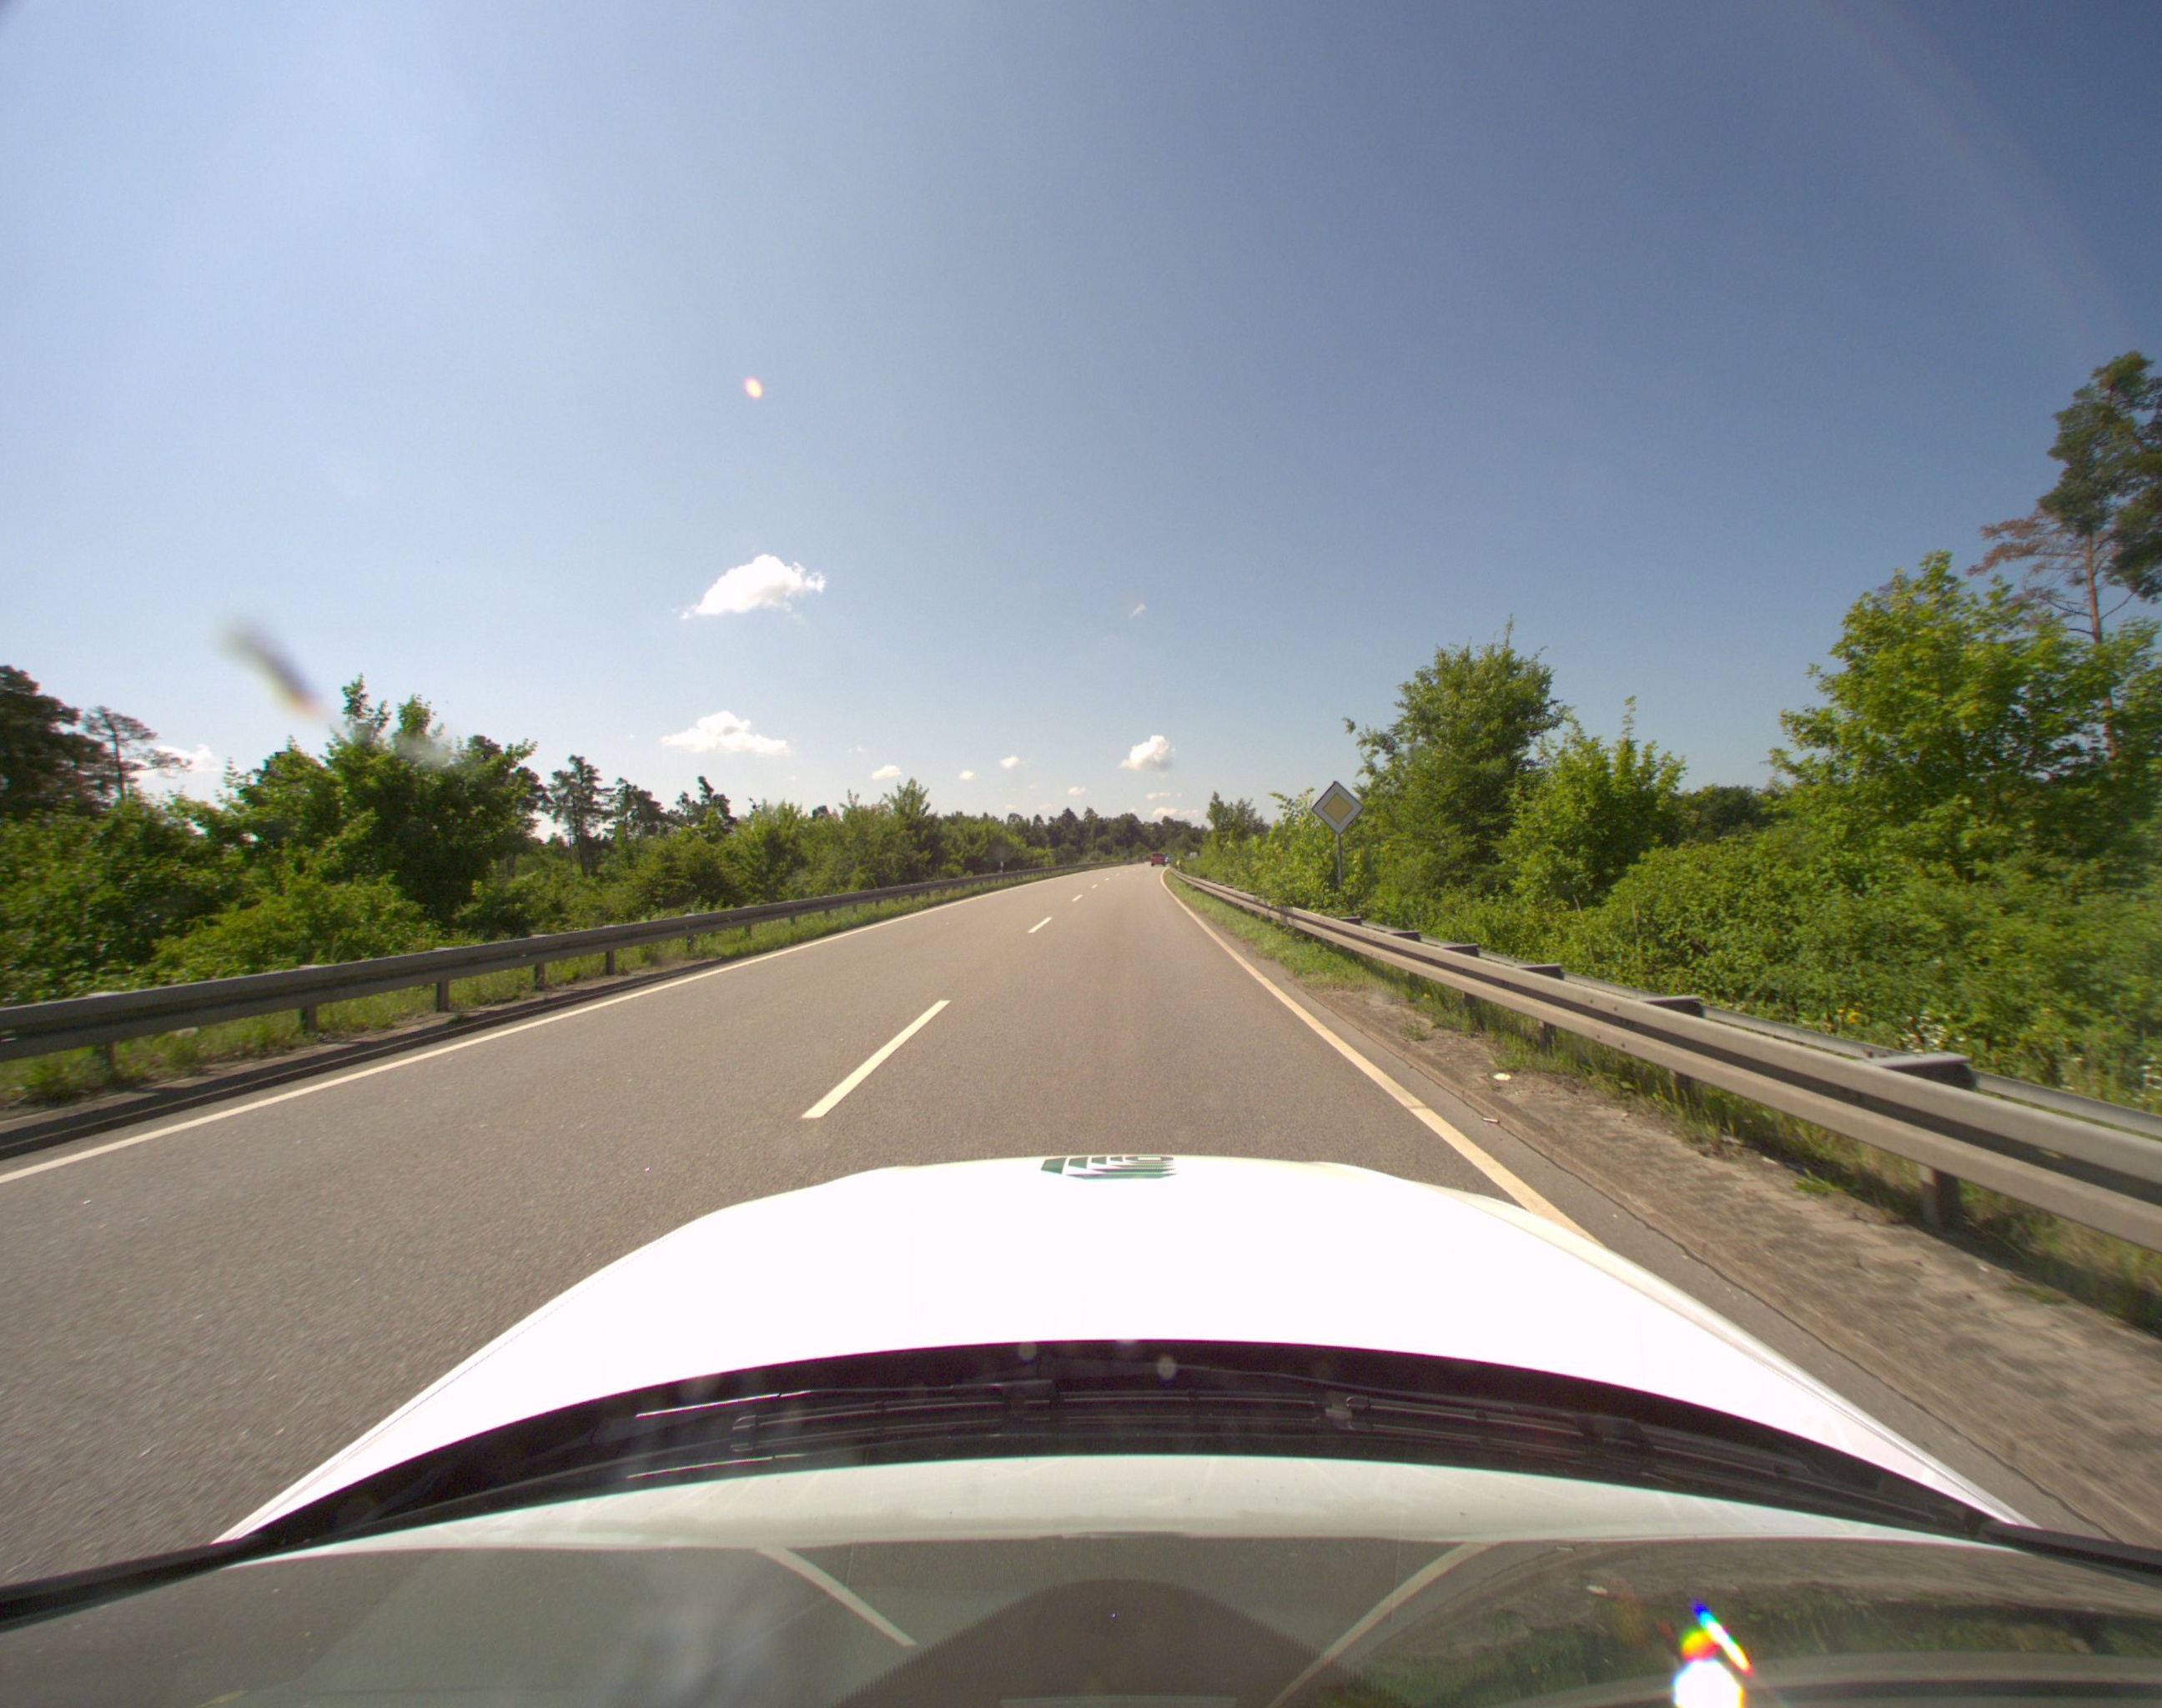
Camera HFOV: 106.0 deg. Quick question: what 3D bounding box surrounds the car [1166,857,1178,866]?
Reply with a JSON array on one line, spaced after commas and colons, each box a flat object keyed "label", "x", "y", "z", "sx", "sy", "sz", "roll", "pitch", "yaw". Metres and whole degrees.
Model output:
[{"label": "car", "x": 15.406, "y": 1.244, "z": 137.418, "sx": 1.996, "sy": 1.494, "sz": 4.247, "roll": 0, "pitch": -1, "yaw": 7}]

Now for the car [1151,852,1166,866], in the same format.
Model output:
[{"label": "car", "x": 10.856, "y": 0.741, "z": 114.198, "sx": 2.067, "sy": 1.993, "sz": 5.118, "roll": 0, "pitch": -1, "yaw": 5}]

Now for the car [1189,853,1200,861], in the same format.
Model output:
[{"label": "car", "x": 27.071, "y": 0.672, "z": 194.513, "sx": 2.174, "sy": 1.955, "sz": 5.812, "roll": 0, "pitch": 0, "yaw": 5}]
